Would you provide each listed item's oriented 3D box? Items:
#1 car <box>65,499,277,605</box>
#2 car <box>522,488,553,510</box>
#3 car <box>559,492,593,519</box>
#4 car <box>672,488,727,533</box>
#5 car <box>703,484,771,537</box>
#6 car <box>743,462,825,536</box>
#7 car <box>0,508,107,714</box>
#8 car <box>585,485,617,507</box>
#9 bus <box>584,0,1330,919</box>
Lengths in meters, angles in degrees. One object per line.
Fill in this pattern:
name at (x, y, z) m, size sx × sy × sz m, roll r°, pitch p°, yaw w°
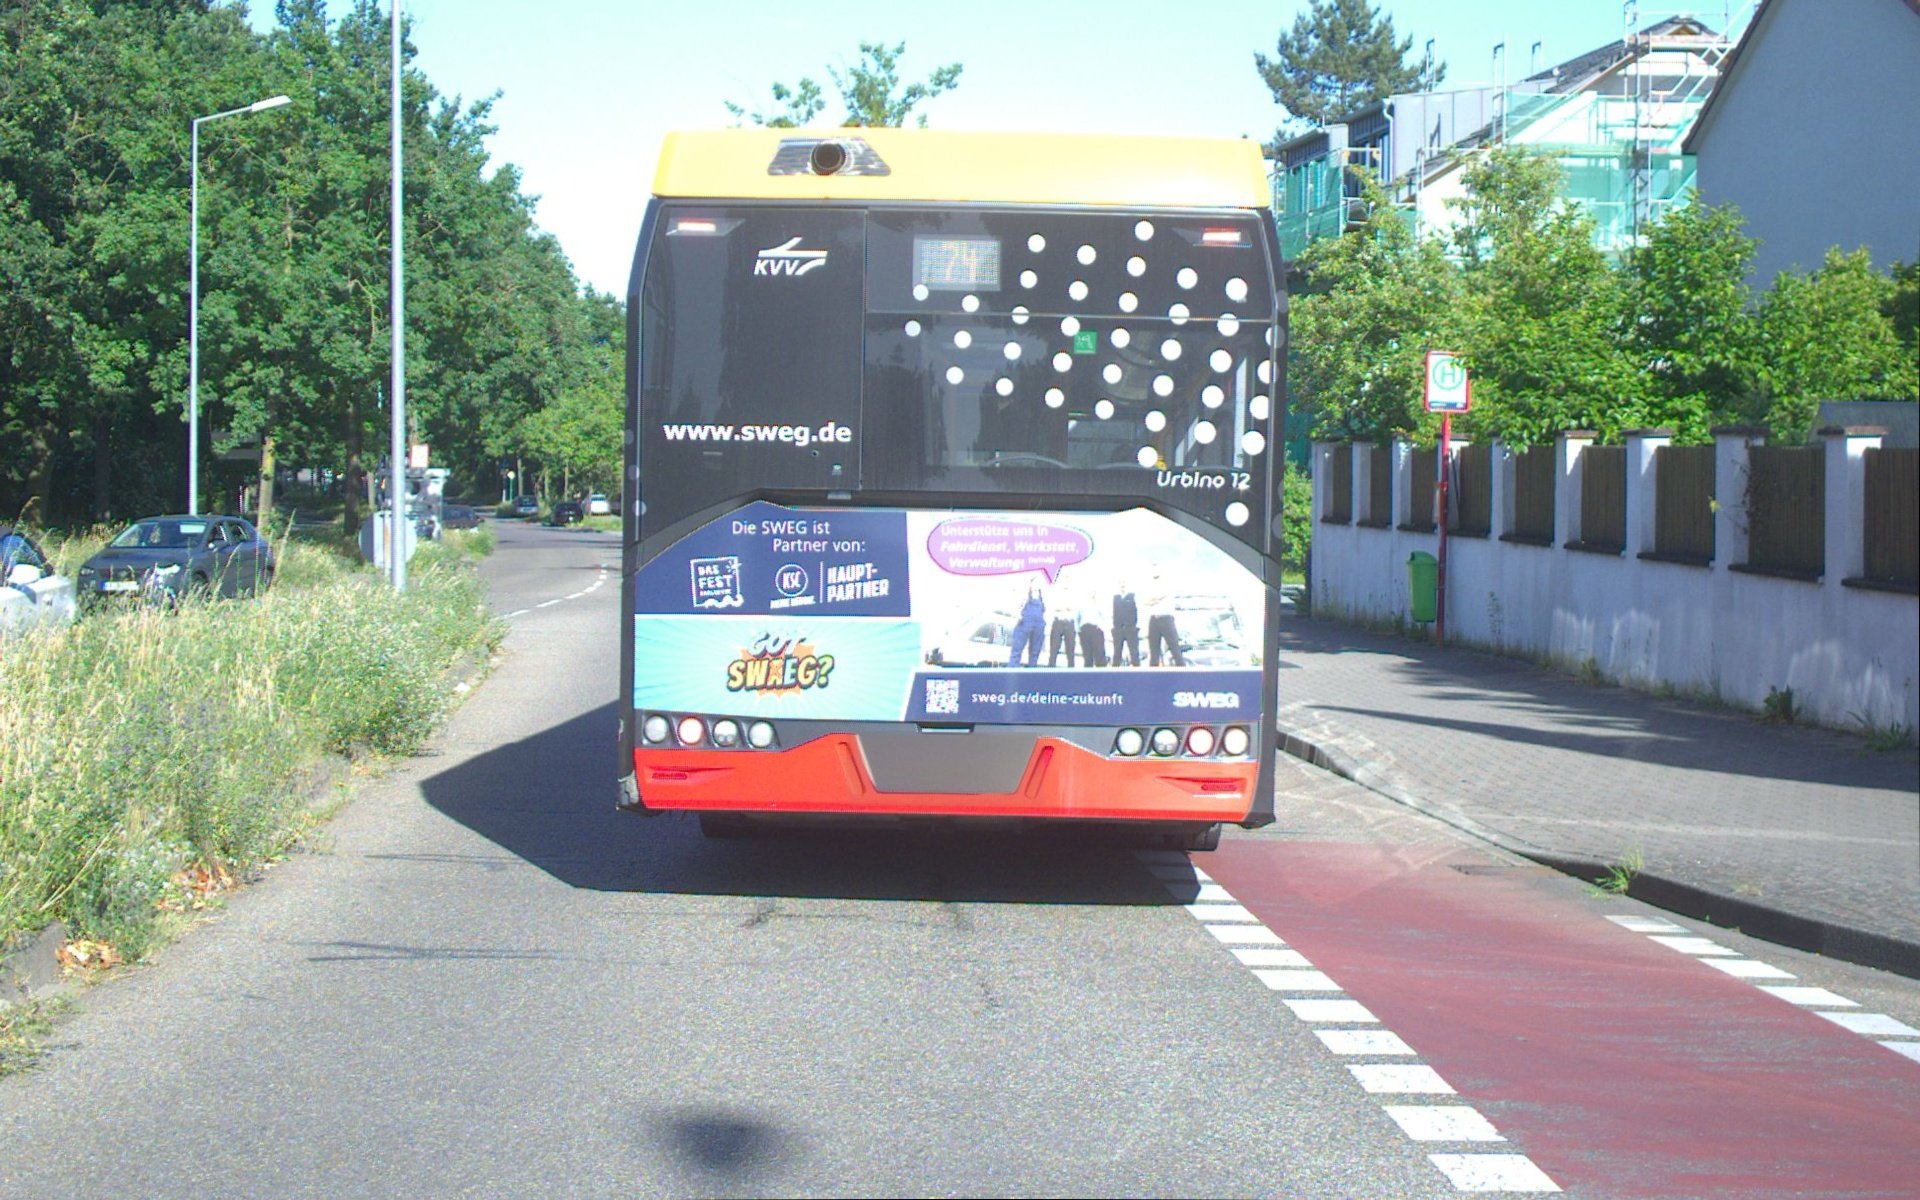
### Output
car at (-11.404, -0.723, 49.962) m, size 1.710 × 1.426 × 3.999 m, roll -1°, pitch 2°, yaw 7°
car at (-28.221, -6.763, 229.707) m, size 1.933 × 1.449 × 4.001 m, roll 0°, pitch 2°, yaw -9°
car at (-22.862, -5.641, 204.627) m, size 1.933 × 1.537 × 4.001 m, roll 1°, pitch 2°, yaw -8°
car at (-10.357, -3.569, 136.340) m, size 1.933 × 1.736 × 4.001 m, roll 1°, pitch 2°, yaw -8°
car at (-7.423, -2.980, 114.142) m, size 1.935 × 1.698 × 4.001 m, roll 1°, pitch 2°, yaw -8°
car at (-4.860, -2.770, 94.180) m, size 1.835 × 1.964 × 4.760 m, roll 1°, pitch 2°, yaw -8°
car at (-7.967, 0.049, 26.128) m, size 1.993 × 1.445 × 4.400 m, roll 0°, pitch 2°, yaw -2°
car at (-24.071, -7.003, 230.631) m, size 1.933 × 1.449 × 4.001 m, roll 0°, pitch 2°, yaw -9°
bus at (-0.073, -0.674, 18.978) m, size 2.757 × 3.446 × 12.399 m, roll 0°, pitch 1°, yaw -1°
